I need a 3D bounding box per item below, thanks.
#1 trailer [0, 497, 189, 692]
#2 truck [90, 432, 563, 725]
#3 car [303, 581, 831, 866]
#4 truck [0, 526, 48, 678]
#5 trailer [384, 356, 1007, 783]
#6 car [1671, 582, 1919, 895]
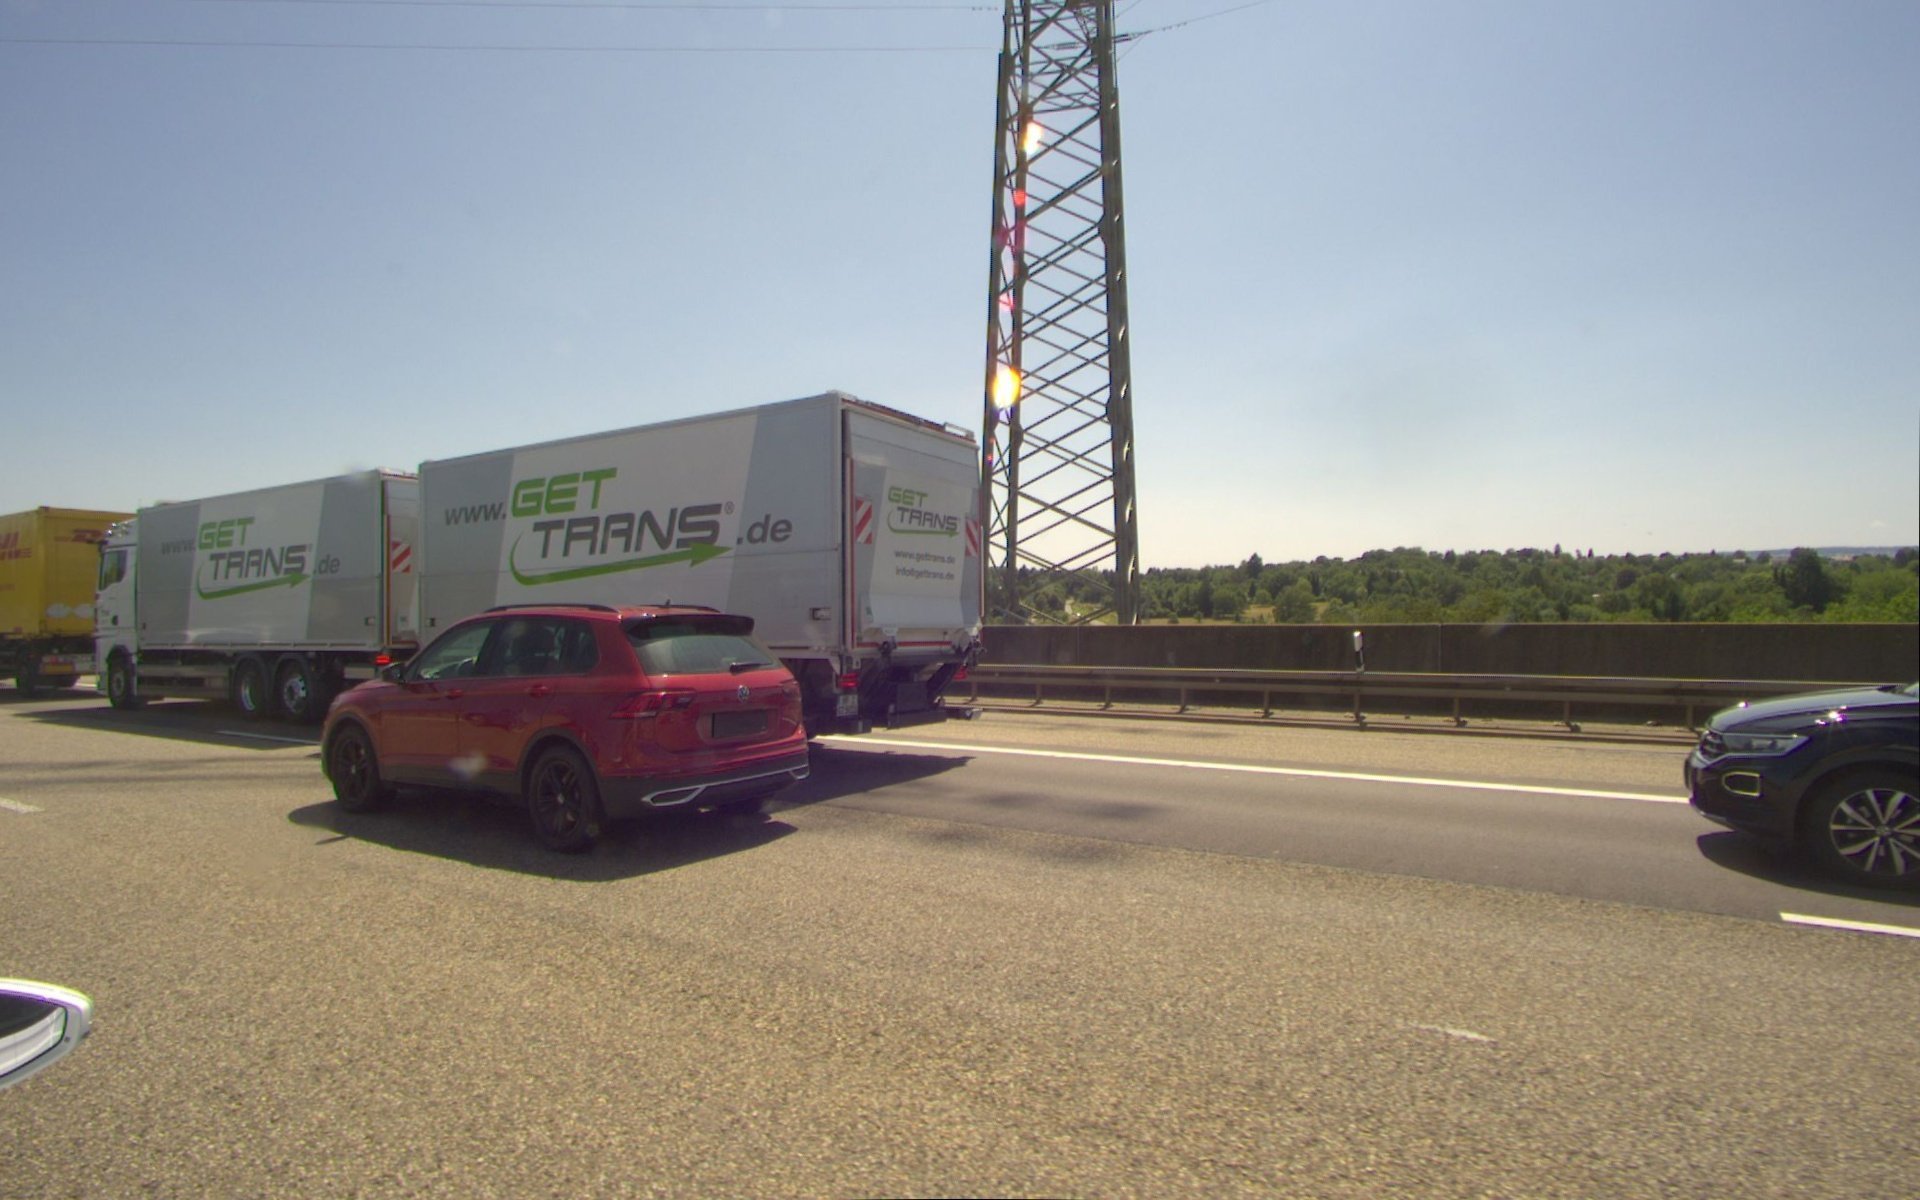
[{"bbox_3d":[-22.559,0.034,24.636,8.851,4.139,2.679,-2,-2,31],"label":"trailer"},{"bbox_3d":[-11.513,-0.119,17.616,10.459,3.984,2.847,-2,-2,32],"label":"truck"},{"bbox_3d":[-3.183,0.821,7.848,4.224,1.700,1.705,-2,-3,33],"label":"car"},{"bbox_3d":[-30.421,0.160,29.461,9.797,4.139,2.695,-2,-2,32],"label":"truck"},{"bbox_3d":[-3.631,-0.140,12.638,8.098,3.940,2.894,-2,-2,32],"label":"trailer"},{"bbox_3d":[6.488,0.741,5.527,4.060,1.675,1.705,-2,-2,33],"label":"car"}]
